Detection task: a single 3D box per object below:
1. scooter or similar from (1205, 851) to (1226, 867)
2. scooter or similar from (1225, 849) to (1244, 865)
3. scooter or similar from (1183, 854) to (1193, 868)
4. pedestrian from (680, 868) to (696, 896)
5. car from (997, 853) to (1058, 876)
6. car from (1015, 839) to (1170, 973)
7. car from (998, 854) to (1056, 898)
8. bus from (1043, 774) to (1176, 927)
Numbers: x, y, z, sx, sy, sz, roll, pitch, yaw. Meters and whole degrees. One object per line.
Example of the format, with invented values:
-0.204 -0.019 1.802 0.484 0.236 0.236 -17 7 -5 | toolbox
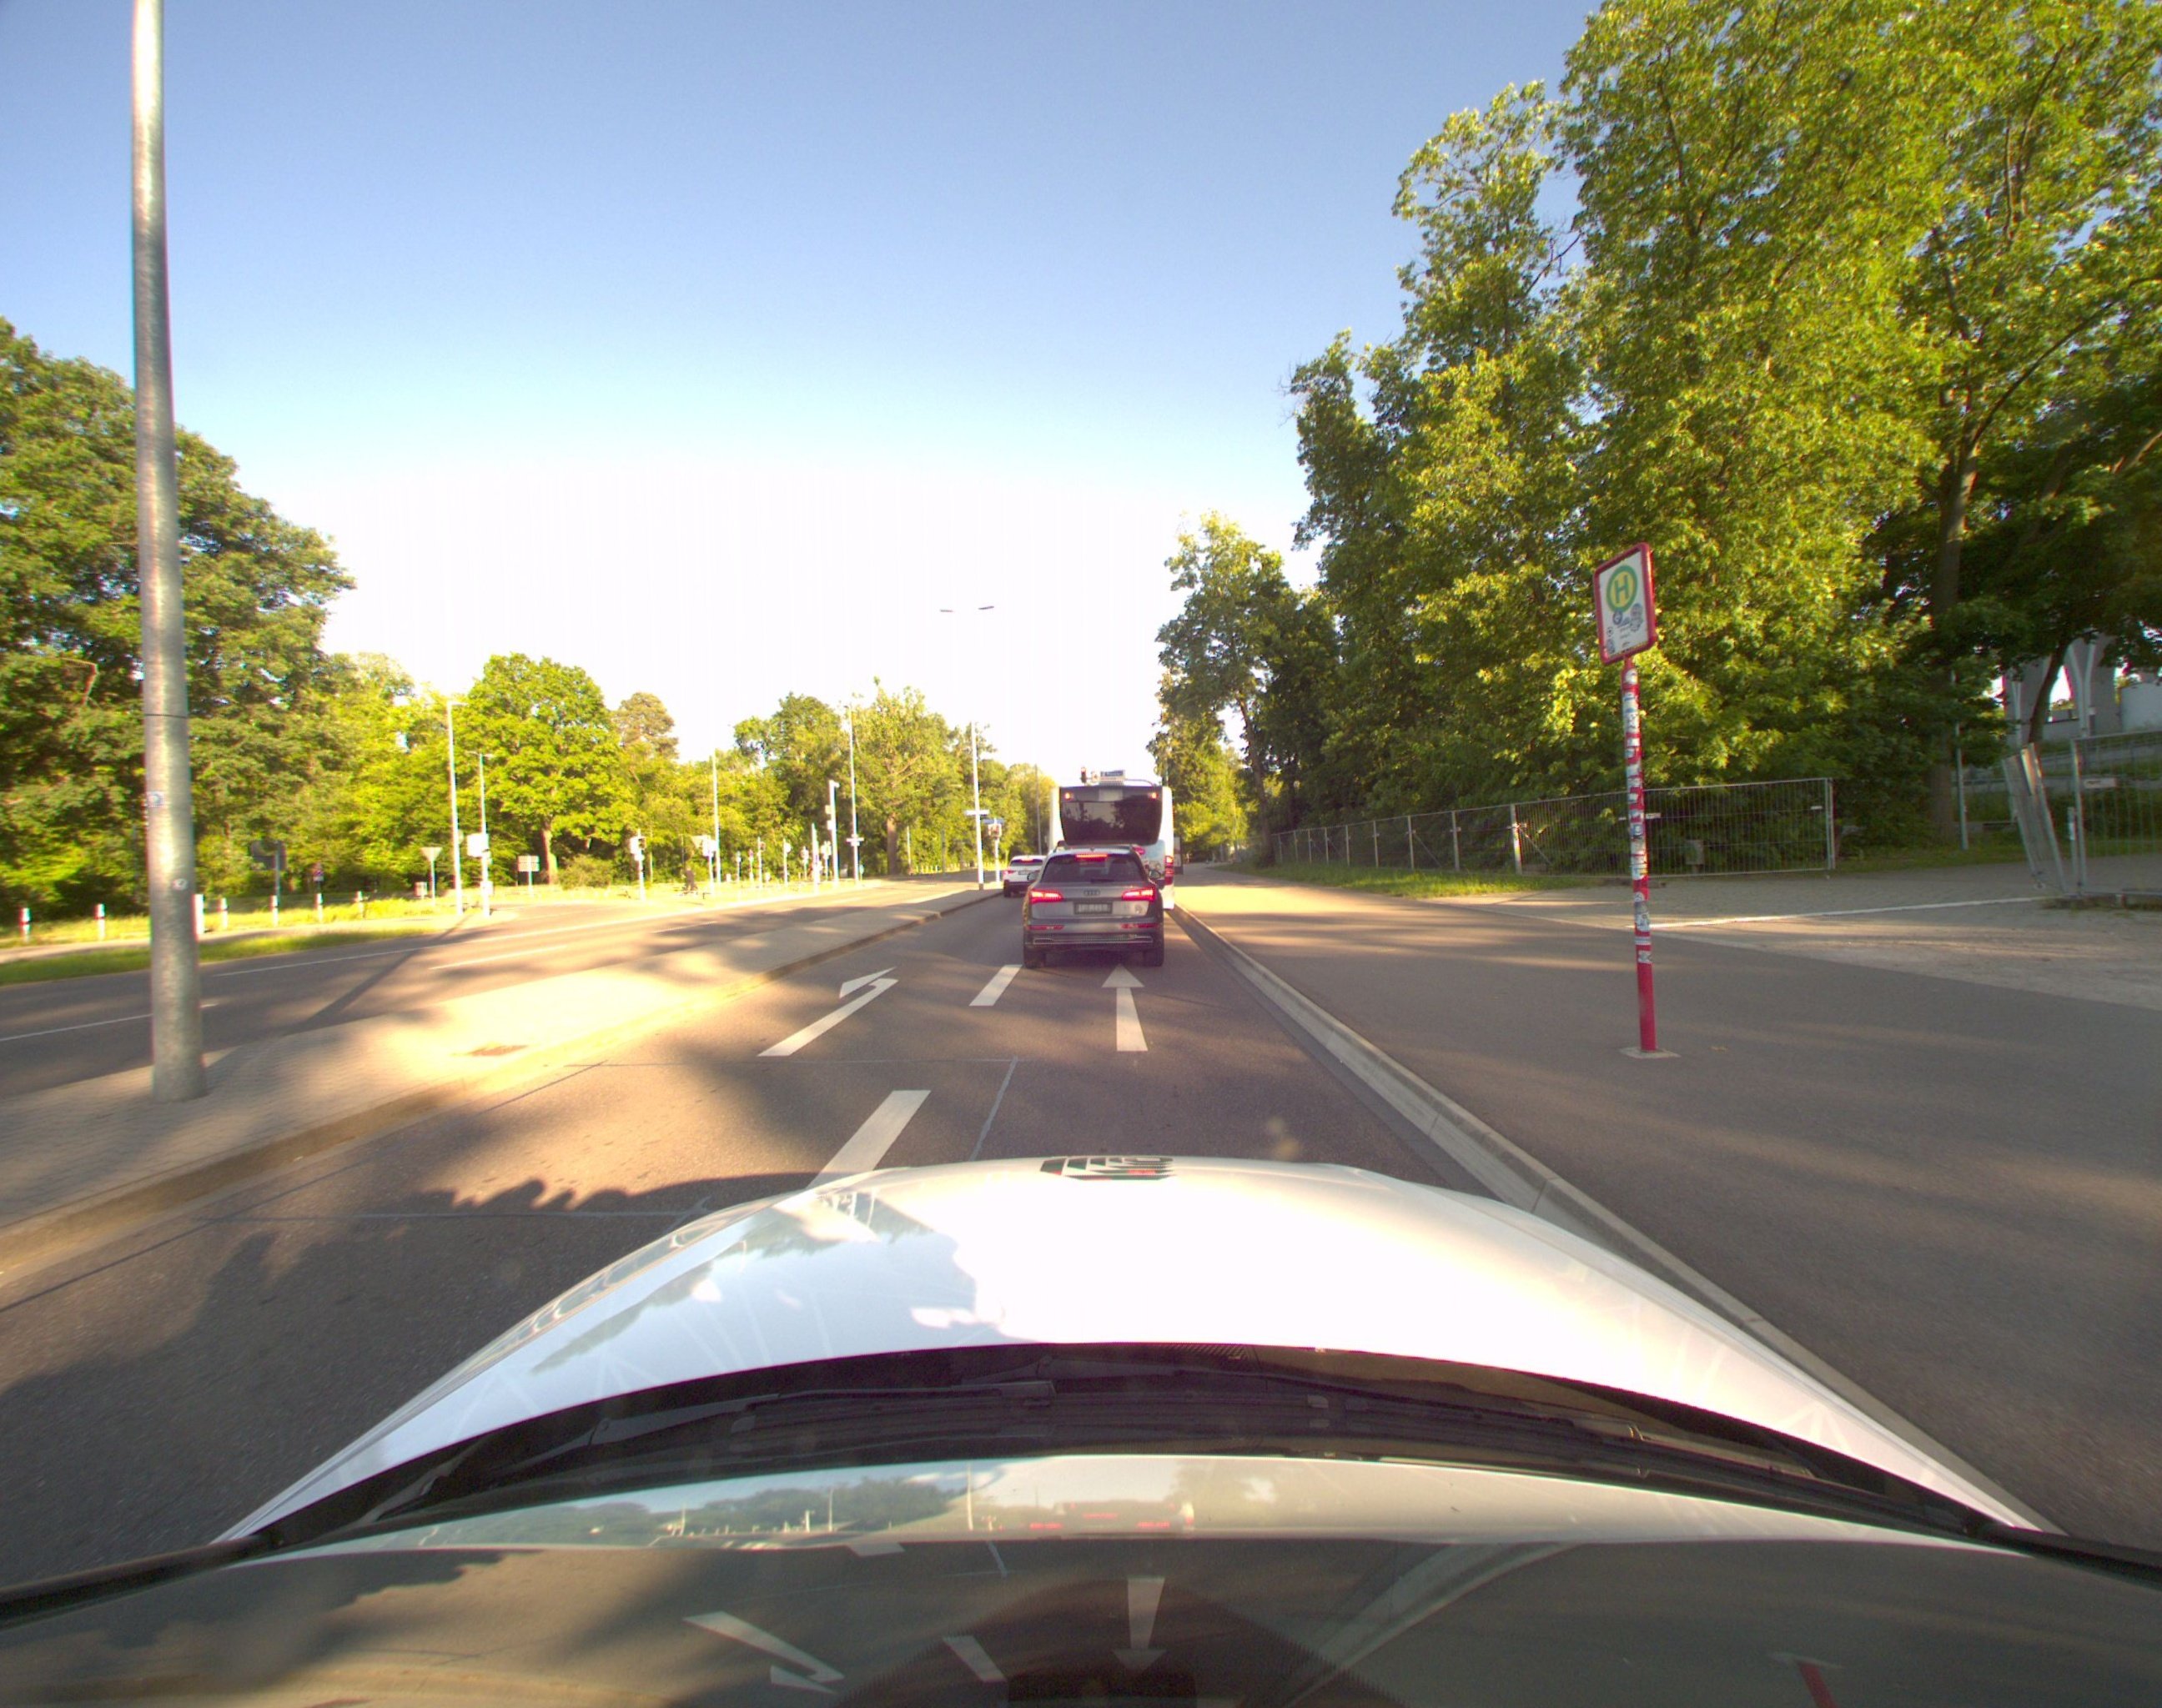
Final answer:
13.497 0.489 81.749 2.025 1.444 0.601 -3 0 -23 | scooter or similar
15.654 0.278 82.926 0.543 1.567 1.999 -3 0 -37 | scooter or similar
11.096 0.740 84.415 0.507 1.444 2.020 -3 0 -3 | scooter or similar
-22.579 1.614 46.744 0.652 1.560 0.533 -2 0 -41 | pedestrian
-3.949 0.770 61.087 1.974 1.498 4.820 -3 0 34 | car
0.206 0.641 12.054 1.891 1.632 4.002 -1 0 2 | car
-2.021 0.787 31.525 1.829 1.518 4.002 -2 0 2 | car
0.716 -0.029 20.808 2.585 2.989 9.330 -1 -1 2 | bus
